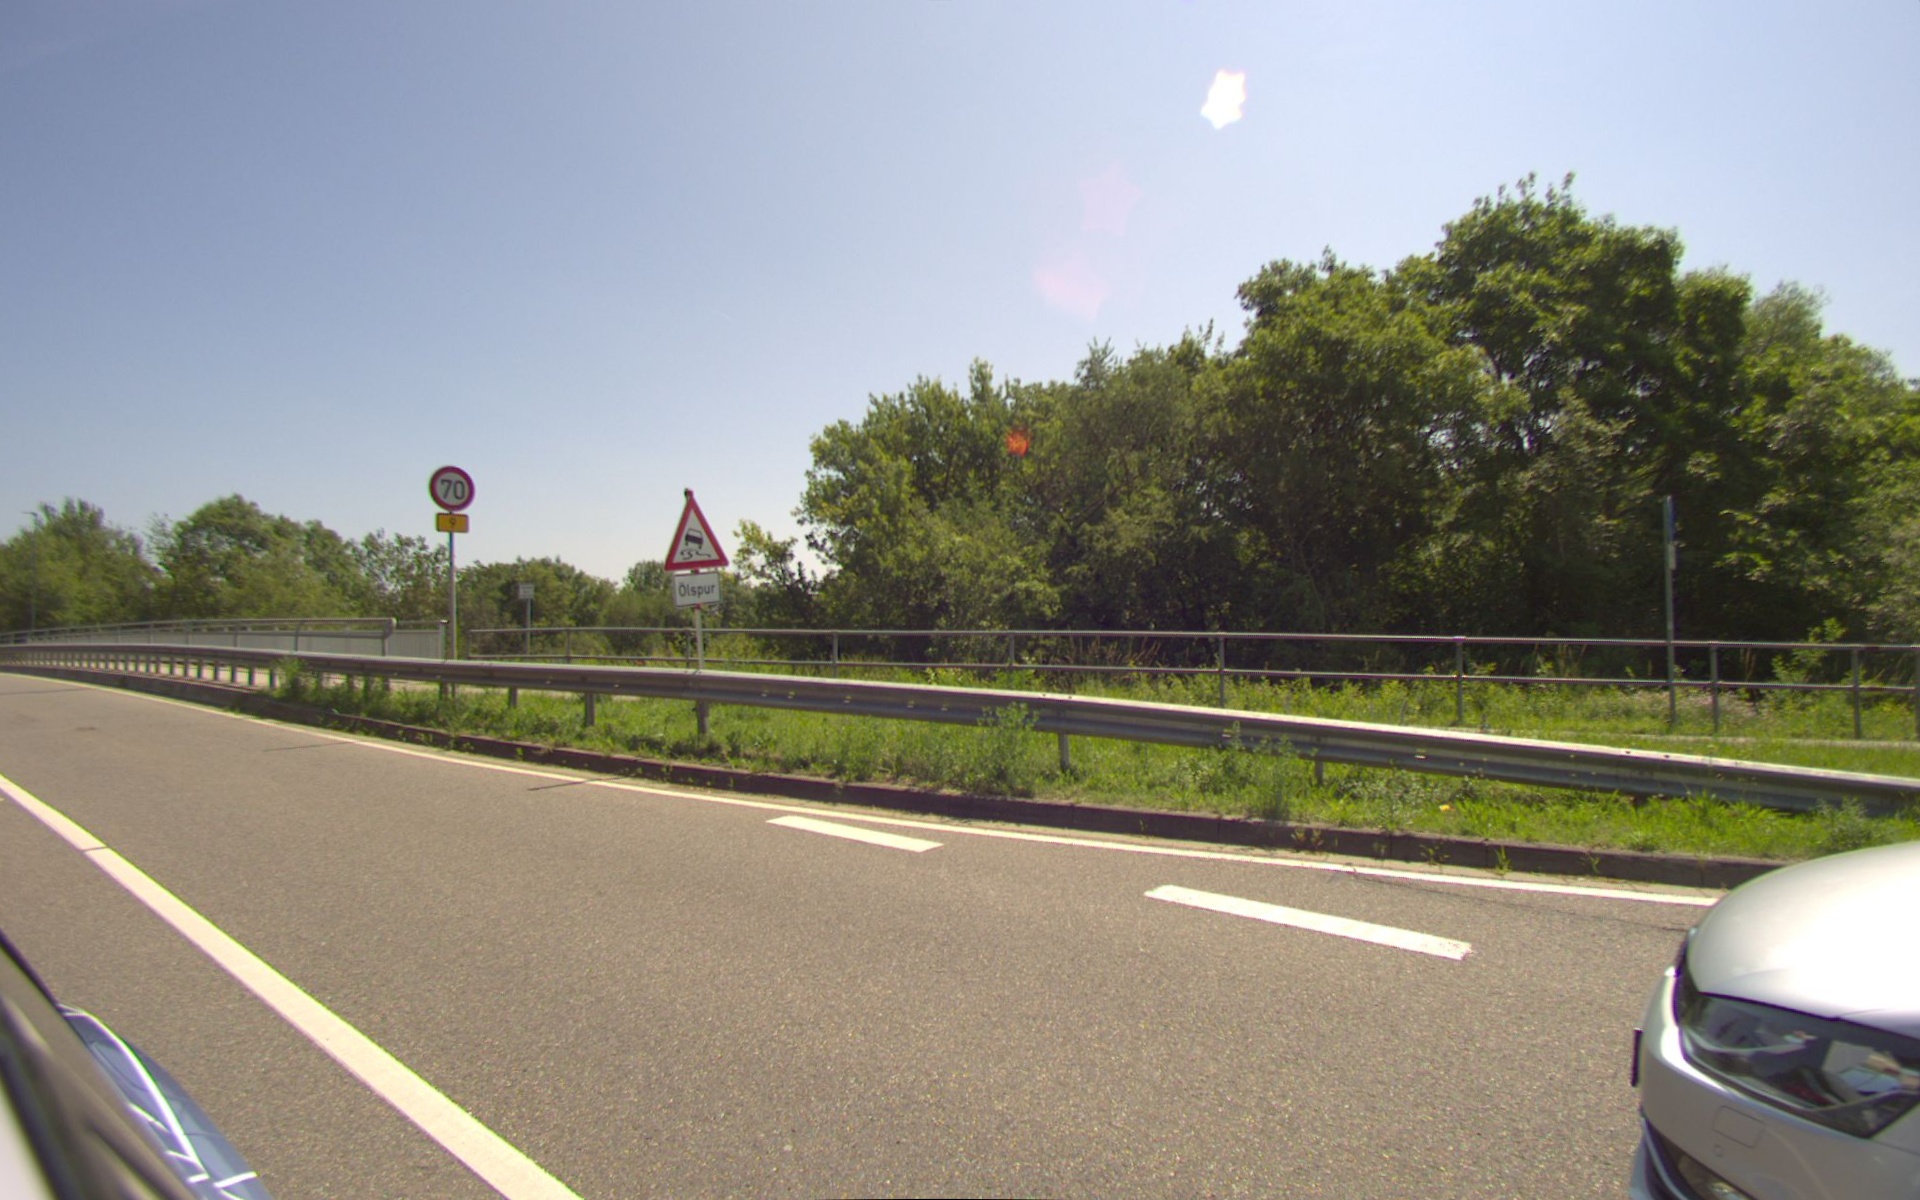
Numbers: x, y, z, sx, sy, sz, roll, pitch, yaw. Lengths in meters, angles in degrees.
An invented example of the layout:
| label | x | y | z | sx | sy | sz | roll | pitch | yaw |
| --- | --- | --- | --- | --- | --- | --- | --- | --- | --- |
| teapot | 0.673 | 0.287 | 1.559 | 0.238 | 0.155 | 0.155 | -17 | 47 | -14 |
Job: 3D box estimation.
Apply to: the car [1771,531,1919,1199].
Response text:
| label | x | y | z | sx | sy | sz | roll | pitch | yaw |
| --- | --- | --- | --- | --- | --- | --- | --- | --- | --- |
| car | 3.177 | 0.596 | 0.907 | 3.764 | 1.429 | 1.627 | -1 | 0 | 41 |
